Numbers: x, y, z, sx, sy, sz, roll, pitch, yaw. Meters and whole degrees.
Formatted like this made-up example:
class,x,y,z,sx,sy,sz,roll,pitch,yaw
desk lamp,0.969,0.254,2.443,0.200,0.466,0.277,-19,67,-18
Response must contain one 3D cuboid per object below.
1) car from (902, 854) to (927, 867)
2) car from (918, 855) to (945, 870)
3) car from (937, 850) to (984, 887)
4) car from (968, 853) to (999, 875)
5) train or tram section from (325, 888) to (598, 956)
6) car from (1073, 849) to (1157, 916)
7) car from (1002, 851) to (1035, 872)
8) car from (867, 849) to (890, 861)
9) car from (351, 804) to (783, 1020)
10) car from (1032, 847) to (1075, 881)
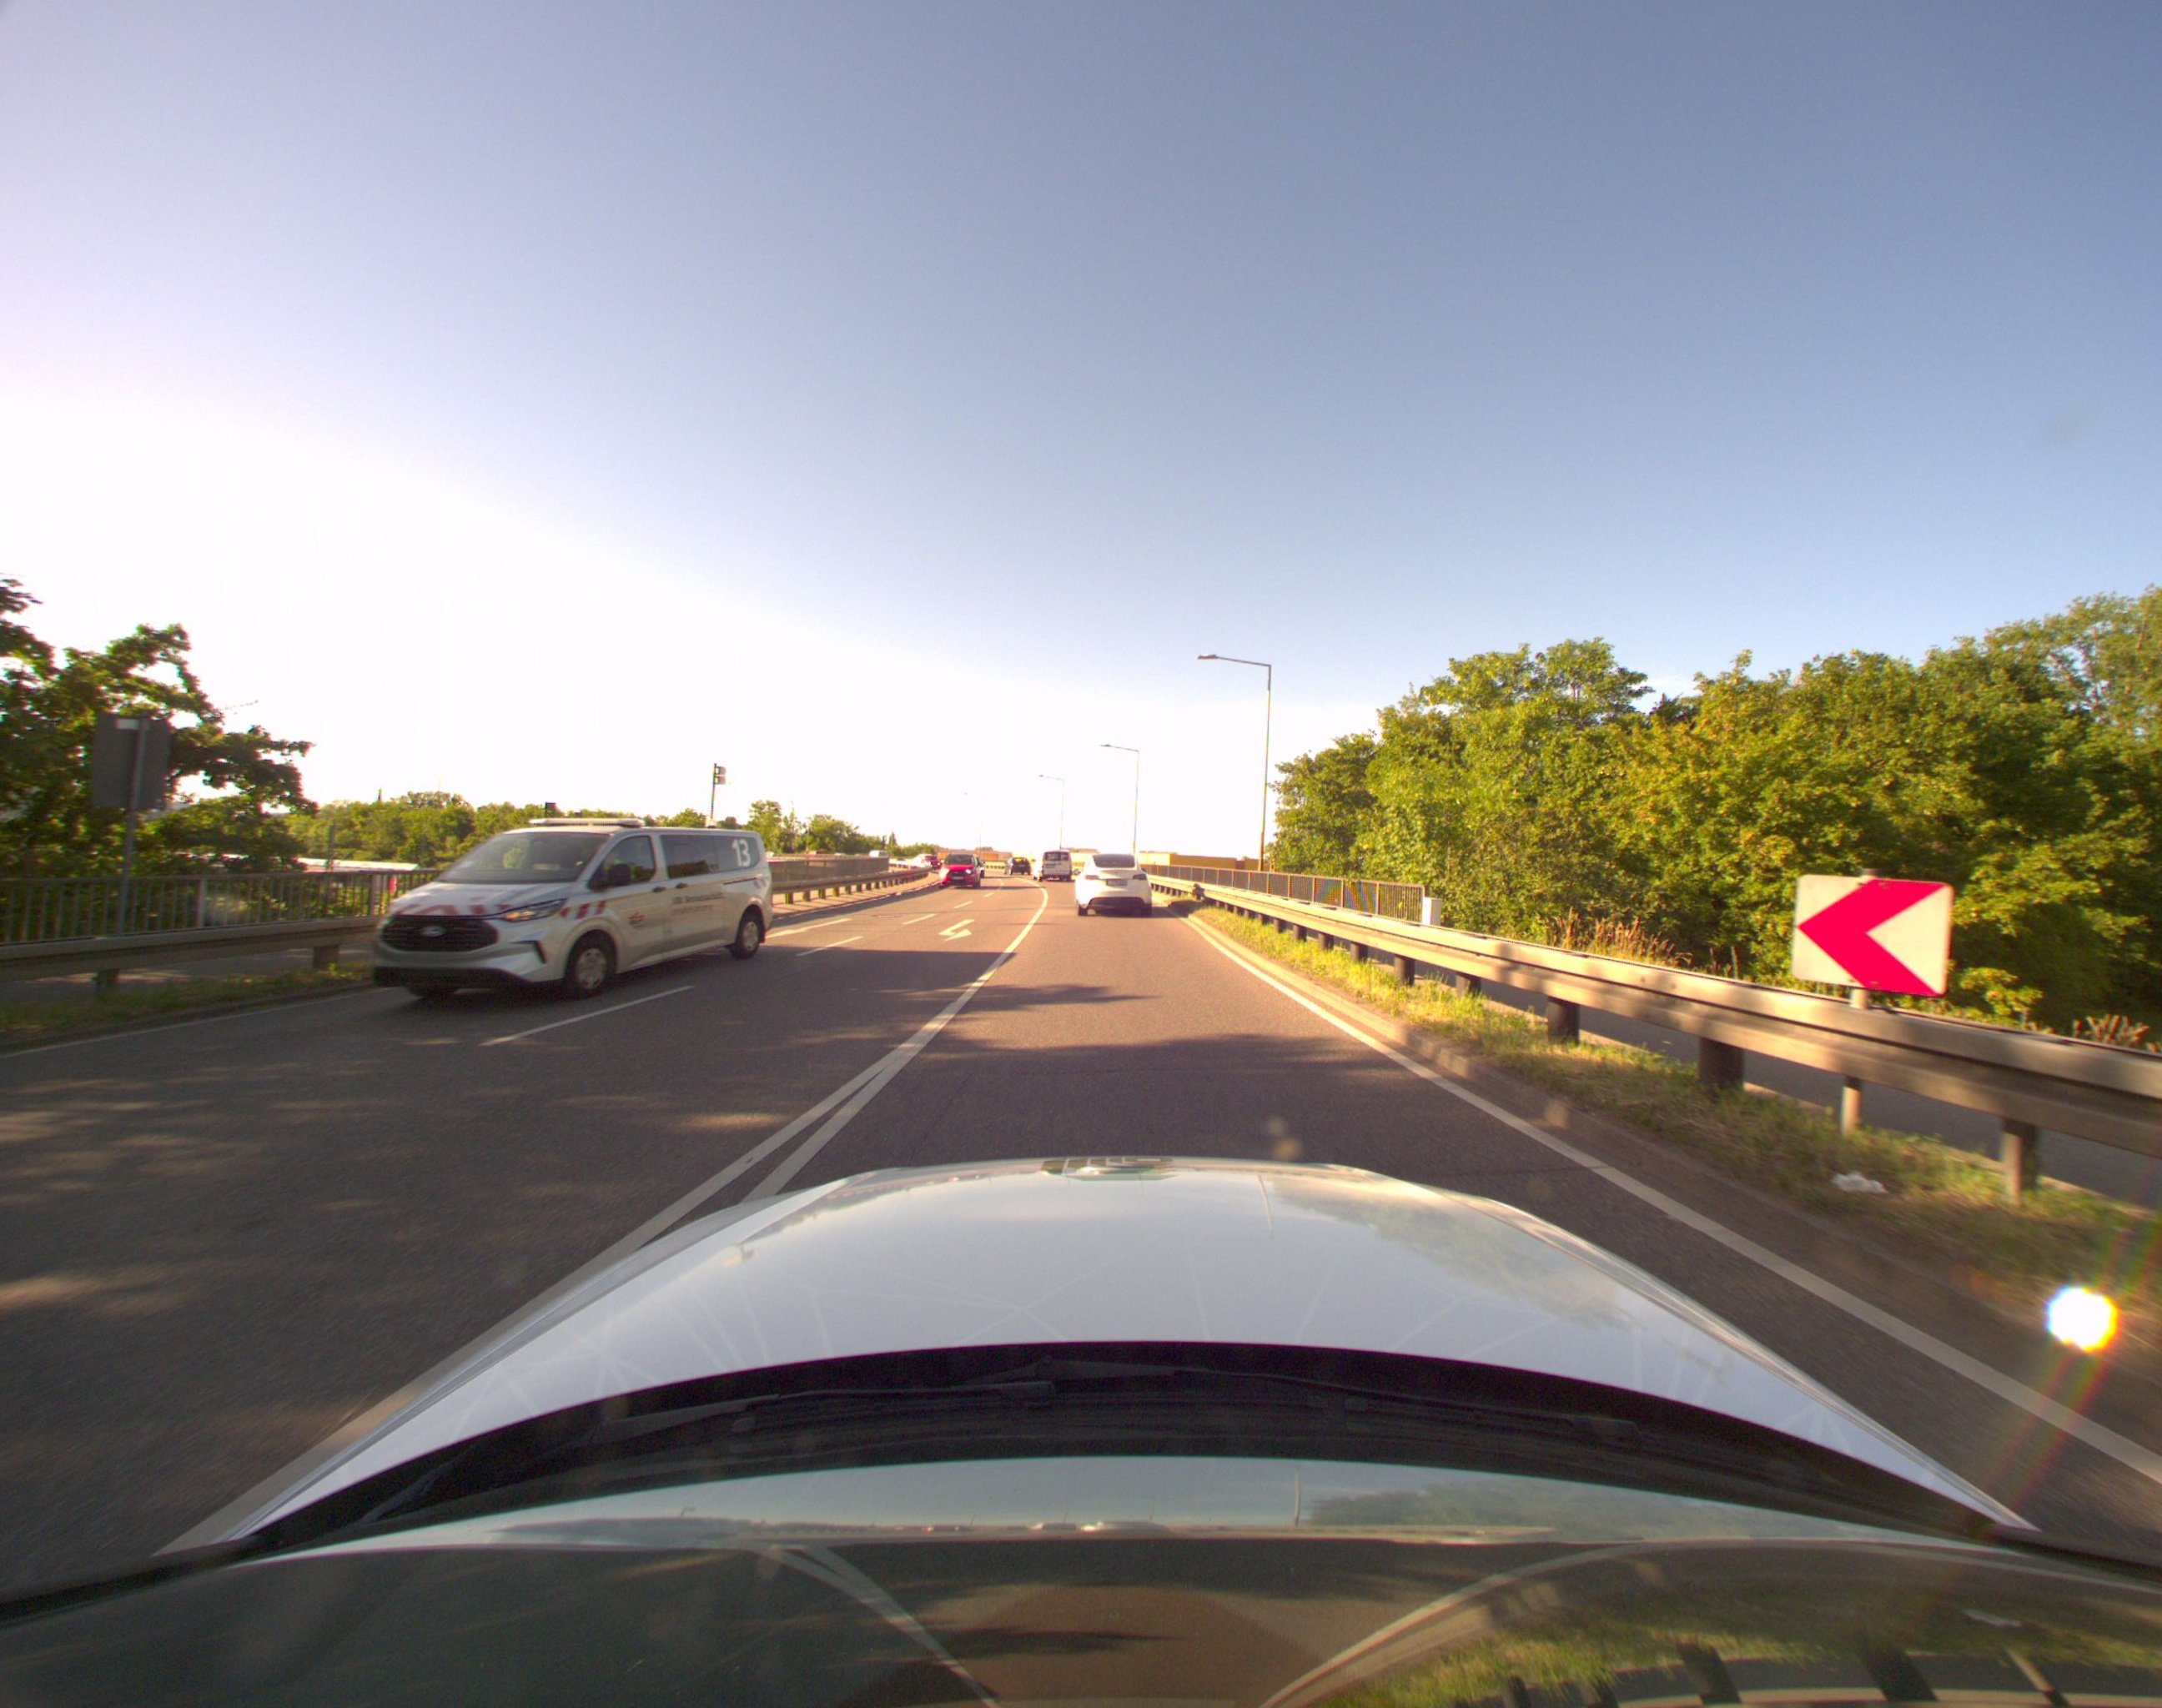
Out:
class,x,y,z,sx,sy,sz,roll,pitch,yaw
car,-20.333,0.751,99.208,1.871,1.585,3.876,1,0,-30
car,-14.729,0.829,80.125,1.790,1.437,3.843,0,0,-25
car,-5.594,0.633,38.253,1.800,1.638,3.996,1,0,-3
car,-6.632,0.669,55.782,1.720,1.486,4.403,0,0,-2
train or tram section,-48.347,5.172,64.880,16.814,4.591,3.869,1,0,-29
car,0.810,0.705,22.144,1.980,1.638,4.059,0,0,-2
car,-4.933,0.574,63.908,1.972,1.638,3.980,0,0,-14
car,-27.889,0.171,112.052,1.848,1.555,3.853,1,0,-33
car,-6.057,0.587,10.668,1.939,2.112,5.278,-1,0,5
car,-1.684,0.573,48.201,2.005,1.940,4.452,1,0,-10
